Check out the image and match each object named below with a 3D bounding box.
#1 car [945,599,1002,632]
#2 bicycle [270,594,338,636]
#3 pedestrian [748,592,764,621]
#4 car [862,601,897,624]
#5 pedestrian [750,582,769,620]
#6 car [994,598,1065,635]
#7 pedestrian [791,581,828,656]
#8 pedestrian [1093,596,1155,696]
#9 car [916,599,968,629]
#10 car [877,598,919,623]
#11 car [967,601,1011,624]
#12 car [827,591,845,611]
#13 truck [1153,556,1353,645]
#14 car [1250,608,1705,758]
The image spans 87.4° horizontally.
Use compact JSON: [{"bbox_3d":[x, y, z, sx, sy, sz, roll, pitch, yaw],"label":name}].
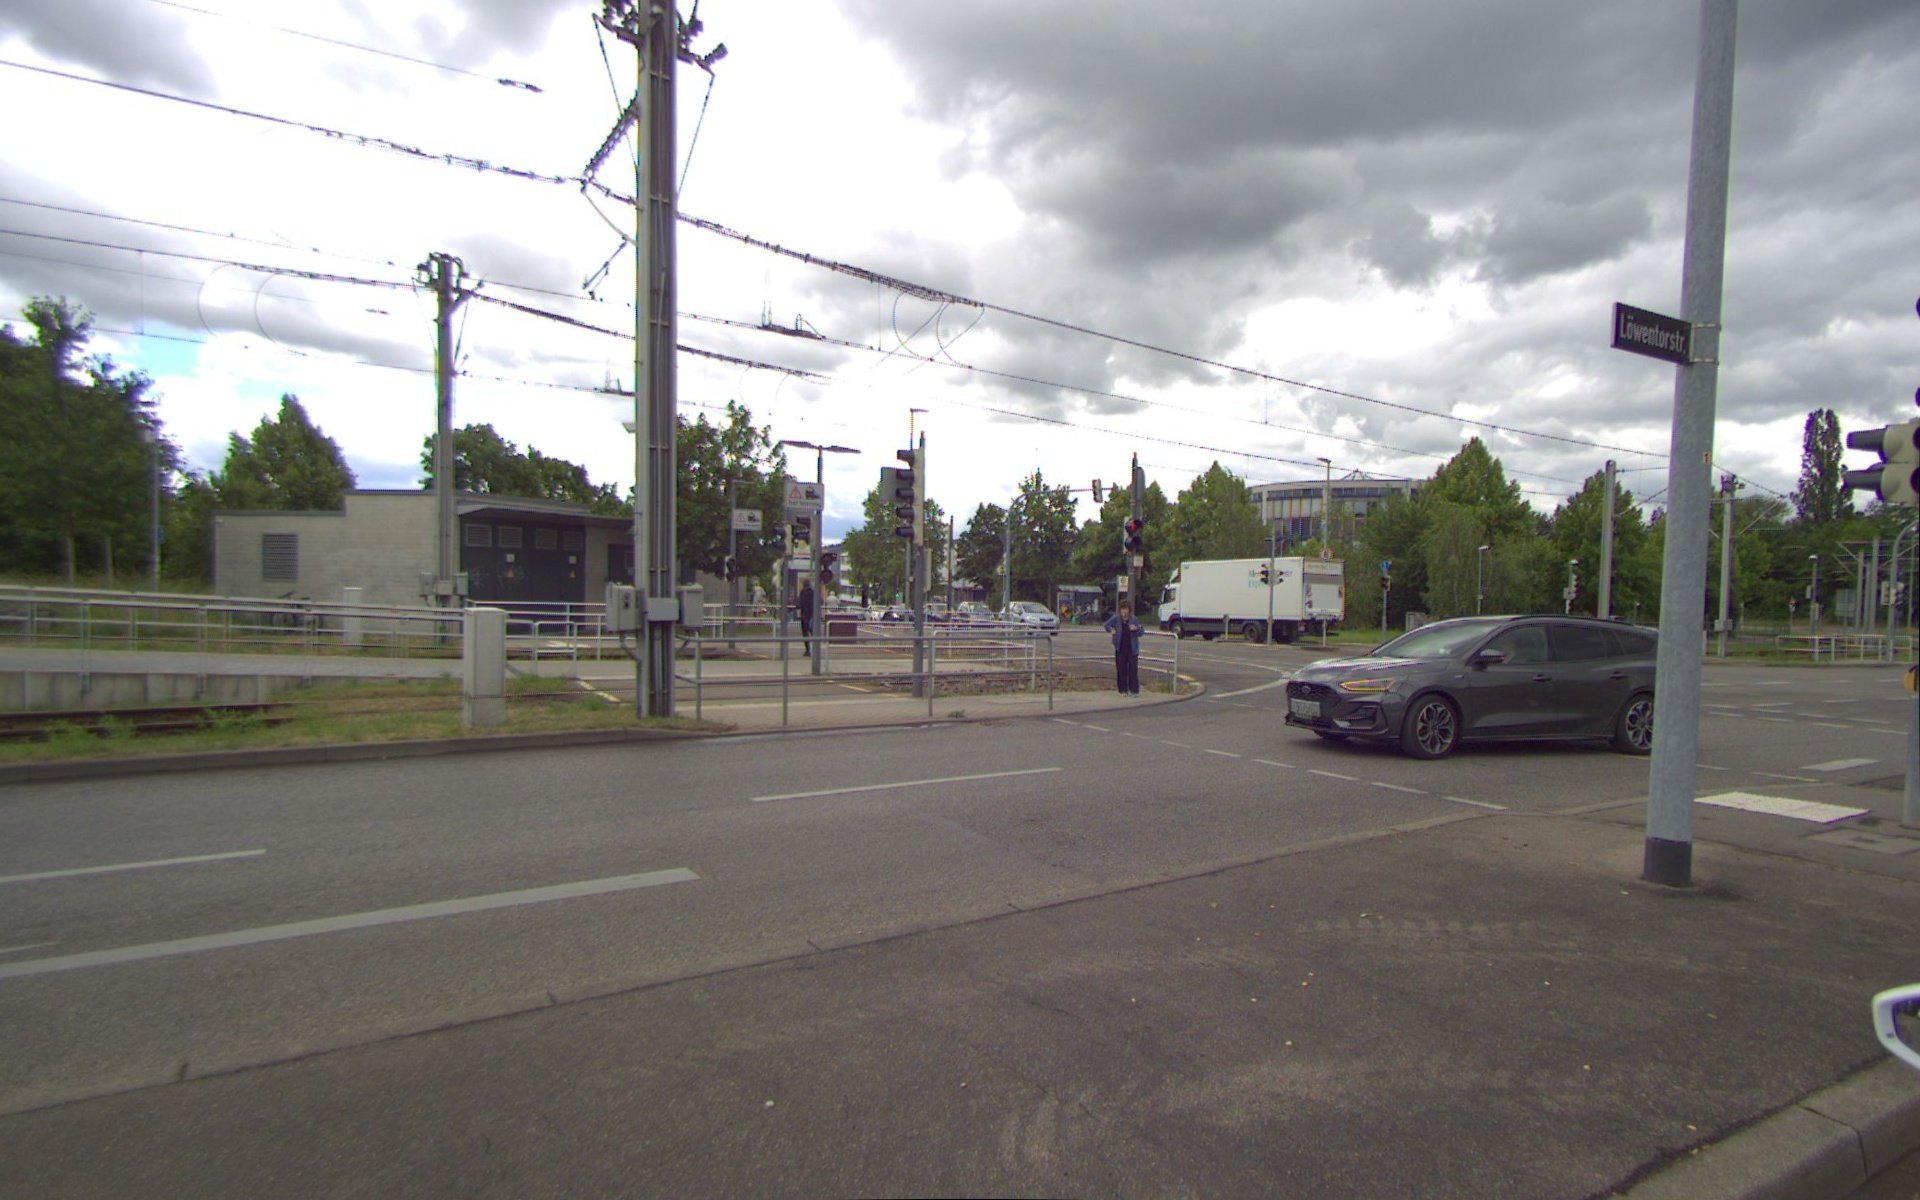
[{"bbox_3d":[0.662,0.800,53.868,1.776,1.617,3.982,2,0,-20],"label":"car"},{"bbox_3d":[-17.397,0.401,26.636,1.778,1.045,0.536,2,0,21],"label":"bicycle"},{"bbox_3d":[-10.026,0.315,49.416,0.594,1.377,0.612,2,0,-26],"label":"pedestrian"},{"bbox_3d":[-6.149,0.926,76.120,1.775,1.617,3.985,2,0,-17],"label":"car"},{"bbox_3d":[-8.361,0.043,41.935,0.633,1.557,0.521,2,0,-2],"label":"pedestrian"},{"bbox_3d":[3.192,0.739,46.901,1.848,1.617,3.982,2,0,-20],"label":"car"},{"bbox_3d":[-3.578,0.435,23.824,0.700,1.751,0.674,2,0,-19],"label":"pedestrian"},{"bbox_3d":[2.638,0.735,16.172,0.712,1.557,0.630,2,0,-33],"label":"pedestrian"},{"bbox_3d":[-1.069,0.767,58.041,1.776,1.617,3.982,2,0,-20],"label":"car"},{"bbox_3d":[-4.272,0.722,68.800,1.776,1.617,3.982,2,0,-20],"label":"car"},{"bbox_3d":[2.091,0.894,73.880,2.014,1.617,3.985,2,0,-17],"label":"car"},{"bbox_3d":[-14.619,0.106,118.109,1.964,2.218,5.800,1,0,-9],"label":"car"},{"bbox_3d":[12.898,-0.012,45.350,2.980,3.580,9.210,1,0,-29],"label":"truck"},{"bbox_3d":[5.698,0.884,11.215,4.358,1.443,1.871,2,0,-14],"label":"car"}]
